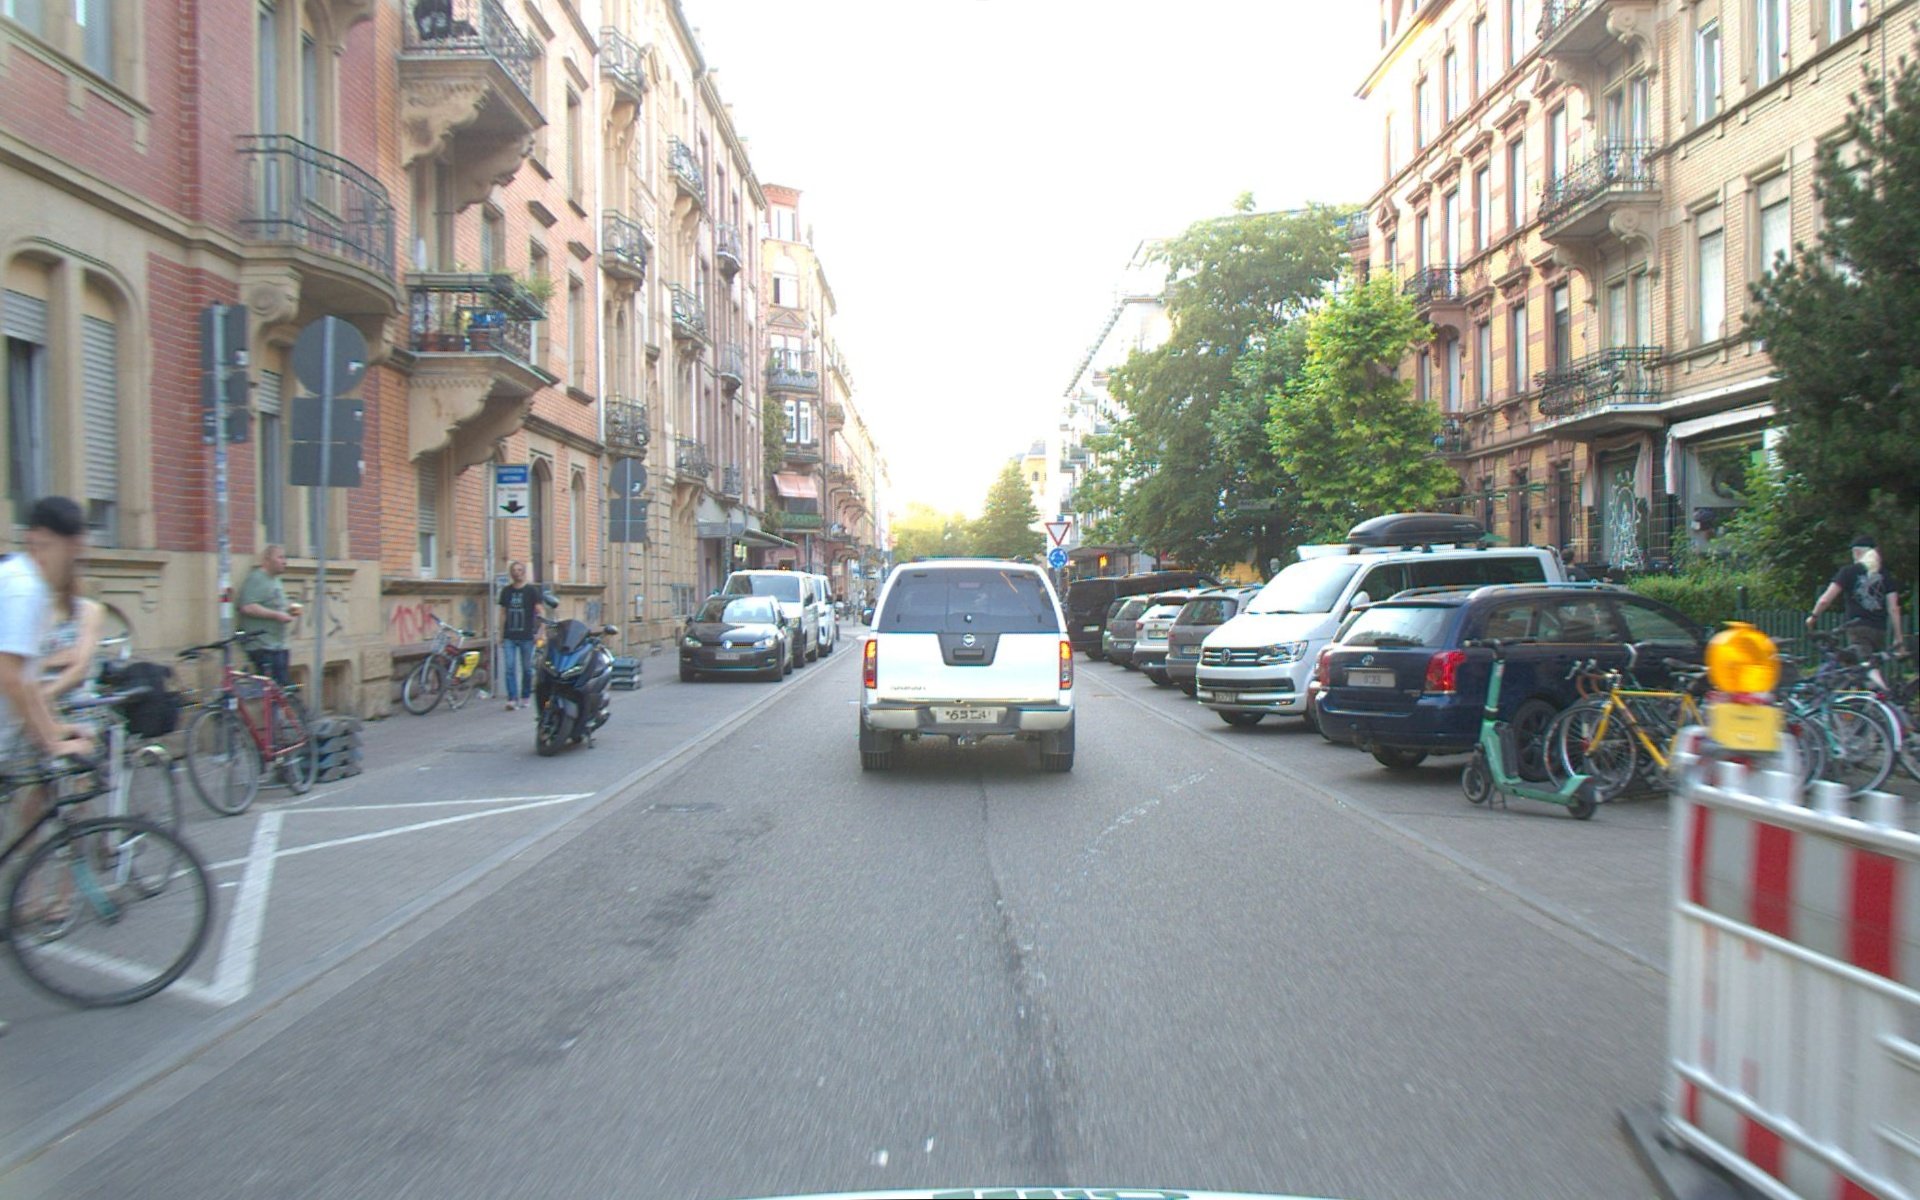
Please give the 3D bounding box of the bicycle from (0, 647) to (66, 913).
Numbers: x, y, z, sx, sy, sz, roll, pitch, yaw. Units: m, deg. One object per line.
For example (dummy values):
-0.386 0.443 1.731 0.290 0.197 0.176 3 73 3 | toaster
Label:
-4.571 0.802 6.843 0.456 1.175 2.001 1 -1 6 | bicycle

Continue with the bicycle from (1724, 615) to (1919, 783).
6.761 0.717 12.562 0.489 1.156 1.798 -3 1 -27 | bicycle

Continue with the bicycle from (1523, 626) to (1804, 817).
4.745 0.777 11.280 0.490 1.156 1.794 -3 1 -32 | bicycle

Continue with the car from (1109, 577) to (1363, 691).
4.711 0.537 28.079 4.056 1.618 1.799 -4 1 -32 | car

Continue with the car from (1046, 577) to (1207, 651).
4.555 0.362 44.958 4.184 1.717 1.906 -4 1 -39 | car

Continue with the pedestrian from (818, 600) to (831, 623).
-7.106 0.617 86.628 0.636 1.211 0.539 1 -1 -5 | pedestrian

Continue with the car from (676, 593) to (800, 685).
-3.847 0.640 29.225 1.800 1.496 4.170 0 0 -3 | car

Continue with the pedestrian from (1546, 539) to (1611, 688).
8.662 0.188 23.169 0.611 2.049 0.655 1 -1 -6 | pedestrian

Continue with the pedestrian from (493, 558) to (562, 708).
-5.445 0.408 20.853 0.669 1.842 0.960 1 -1 -6 | pedestrian

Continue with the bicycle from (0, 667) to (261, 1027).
-3.374 0.827 5.693 1.753 1.175 0.517 1 -1 -23 | bicycle

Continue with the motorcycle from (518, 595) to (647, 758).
-3.526 0.685 15.629 0.670 1.429 2.015 1 -1 2 | motorcycle

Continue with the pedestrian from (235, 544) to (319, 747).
-6.270 0.409 15.209 0.453 1.821 0.642 1 -1 3 | pedestrian

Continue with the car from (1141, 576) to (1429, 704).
4.976 0.551 25.163 4.113 1.618 1.865 -4 2 -32 | car

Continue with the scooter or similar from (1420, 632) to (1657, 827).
3.868 0.828 11.170 0.646 1.170 1.473 -2 1 -24 | scooter or similar

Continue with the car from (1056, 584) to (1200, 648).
4.923 0.445 48.301 3.998 1.656 1.674 -3 2 -33 | car

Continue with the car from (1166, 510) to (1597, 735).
5.030 0.185 19.626 4.865 2.403 1.983 -1 0 -27 | car

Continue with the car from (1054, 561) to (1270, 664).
4.913 0.255 39.695 5.385 2.108 1.906 -4 1 -39 | car

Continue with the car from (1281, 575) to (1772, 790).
4.824 0.605 14.067 3.809 1.542 1.832 -1 0 -27 | car

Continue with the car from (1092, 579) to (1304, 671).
4.868 0.477 33.677 4.058 1.578 1.798 -4 1 -33 | car

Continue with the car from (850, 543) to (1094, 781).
0.192 0.506 15.503 1.897 1.842 5.002 1 -1 2 | car

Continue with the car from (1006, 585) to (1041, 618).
3.858 0.089 101.428 1.903 1.967 3.999 1 -1 -2 | car

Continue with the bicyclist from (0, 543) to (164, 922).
-3.901 0.569 7.342 0.456 1.618 0.487 1 -1 2 | bicyclist

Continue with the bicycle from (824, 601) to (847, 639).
-3.861 0.620 51.353 0.461 1.162 1.785 1 -1 3 | bicycle

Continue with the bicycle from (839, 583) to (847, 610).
-6.541 -0.199 92.478 0.415 1.468 1.902 1 -1 -5 | bicycle

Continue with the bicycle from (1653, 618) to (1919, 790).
6.136 0.731 12.321 0.491 1.156 1.792 -3 1 -34 | bicycle

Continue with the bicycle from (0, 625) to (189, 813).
-5.982 0.772 11.446 0.403 1.180 1.837 1 -1 0 | bicycle

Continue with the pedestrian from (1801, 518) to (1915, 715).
8.432 0.155 15.564 0.670 1.780 0.827 -3 -1 14 | pedestrian

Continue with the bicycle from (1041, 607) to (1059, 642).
2.793 0.768 51.656 0.357 1.082 1.551 1 -1 -4 | bicycle

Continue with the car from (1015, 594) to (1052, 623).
4.092 0.484 92.648 1.797 1.569 3.999 1 -1 -2 | car

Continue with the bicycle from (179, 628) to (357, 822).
-4.625 0.790 11.179 0.403 1.180 1.837 1 -1 0 | bicycle

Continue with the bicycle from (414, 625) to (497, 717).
-6.084 0.833 20.011 0.438 1.048 1.740 1 -1 0 | bicycle

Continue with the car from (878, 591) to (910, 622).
-3.910 0.397 98.799 1.797 1.780 3.999 1 -1 -2 | car

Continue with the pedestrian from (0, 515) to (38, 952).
-4.018 0.530 6.644 0.410 1.739 0.350 1 -1 -6 | pedestrian

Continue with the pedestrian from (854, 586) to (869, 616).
-5.431 0.042 90.996 0.782 1.649 0.944 1 -1 -3 | pedestrian

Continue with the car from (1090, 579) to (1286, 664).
5.037 0.455 36.359 4.058 1.578 1.798 -4 1 -33 | car

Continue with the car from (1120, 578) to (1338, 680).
5.135 0.519 31.297 4.069 1.618 1.793 -4 1 -39 | car

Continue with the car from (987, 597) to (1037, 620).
4.136 0.676 132.762 3.906 1.780 1.840 1 -1 -2 | car

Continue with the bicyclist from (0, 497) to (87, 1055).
-3.361 0.543 5.357 0.772 1.733 0.528 1 -1 -8 | bicyclist

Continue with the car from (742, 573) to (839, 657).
-4.143 0.352 41.166 2.067 1.955 5.023 0 0 -2 | car

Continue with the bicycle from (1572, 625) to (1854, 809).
5.251 0.777 11.647 0.491 1.156 1.792 -3 1 -34 | bicycle

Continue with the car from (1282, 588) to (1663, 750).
5.329 0.649 17.075 3.821 1.433 1.738 -1 -1 -34 | car

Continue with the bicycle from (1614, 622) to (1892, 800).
5.703 0.755 11.997 0.491 1.156 1.792 -3 1 -34 | bicycle

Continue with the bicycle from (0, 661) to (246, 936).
-3.887 0.851 7.629 0.456 1.087 1.520 1 -1 2 | bicycle

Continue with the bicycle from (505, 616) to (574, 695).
-6.281 0.806 24.776 0.735 1.120 2.022 1 -1 -7 | bicycle

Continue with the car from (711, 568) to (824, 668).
-3.993 0.350 35.032 1.799 1.955 4.845 0 0 0 | car
